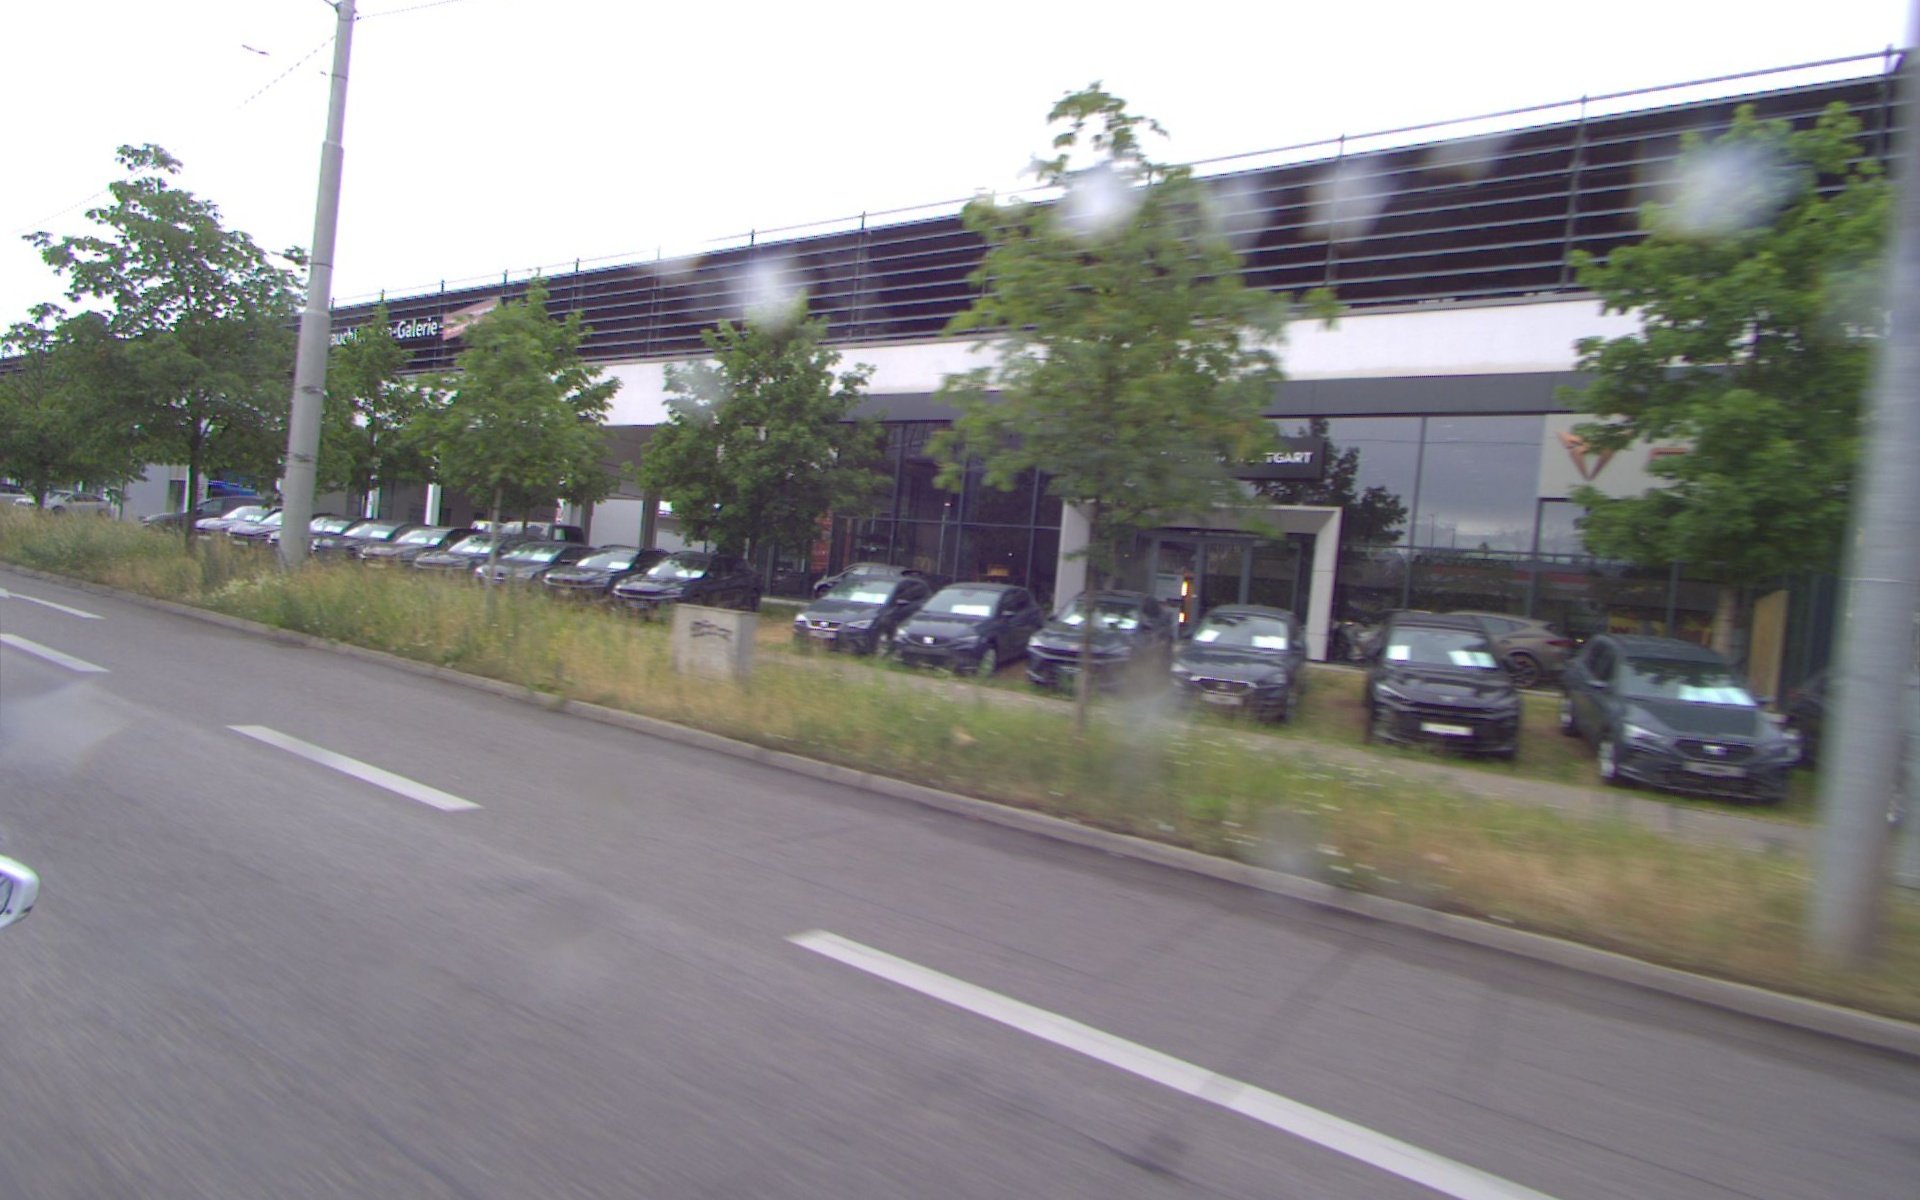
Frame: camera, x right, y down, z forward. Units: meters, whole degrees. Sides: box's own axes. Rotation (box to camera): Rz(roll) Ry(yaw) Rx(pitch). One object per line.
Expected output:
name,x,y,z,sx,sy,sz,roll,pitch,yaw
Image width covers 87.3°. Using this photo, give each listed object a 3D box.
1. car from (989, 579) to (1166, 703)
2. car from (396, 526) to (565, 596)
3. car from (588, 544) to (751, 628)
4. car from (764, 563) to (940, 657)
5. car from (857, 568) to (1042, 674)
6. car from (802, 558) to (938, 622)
car,2.167,0.639,17.324,1.788,1.685,4.495,6,2,22
car,-12.780,-0.983,27.119,1.796,1.548,4.151,6,1,13
car,-6.500,-0.296,22.995,1.700,1.597,4.055,6,1,13
car,-2.011,0.197,19.937,1.656,1.521,4.052,6,2,22
car,-0.042,0.378,18.918,1.788,1.589,4.495,6,2,22
car,-2.782,-0.305,30.831,3.834,1.491,1.666,7,1,32
